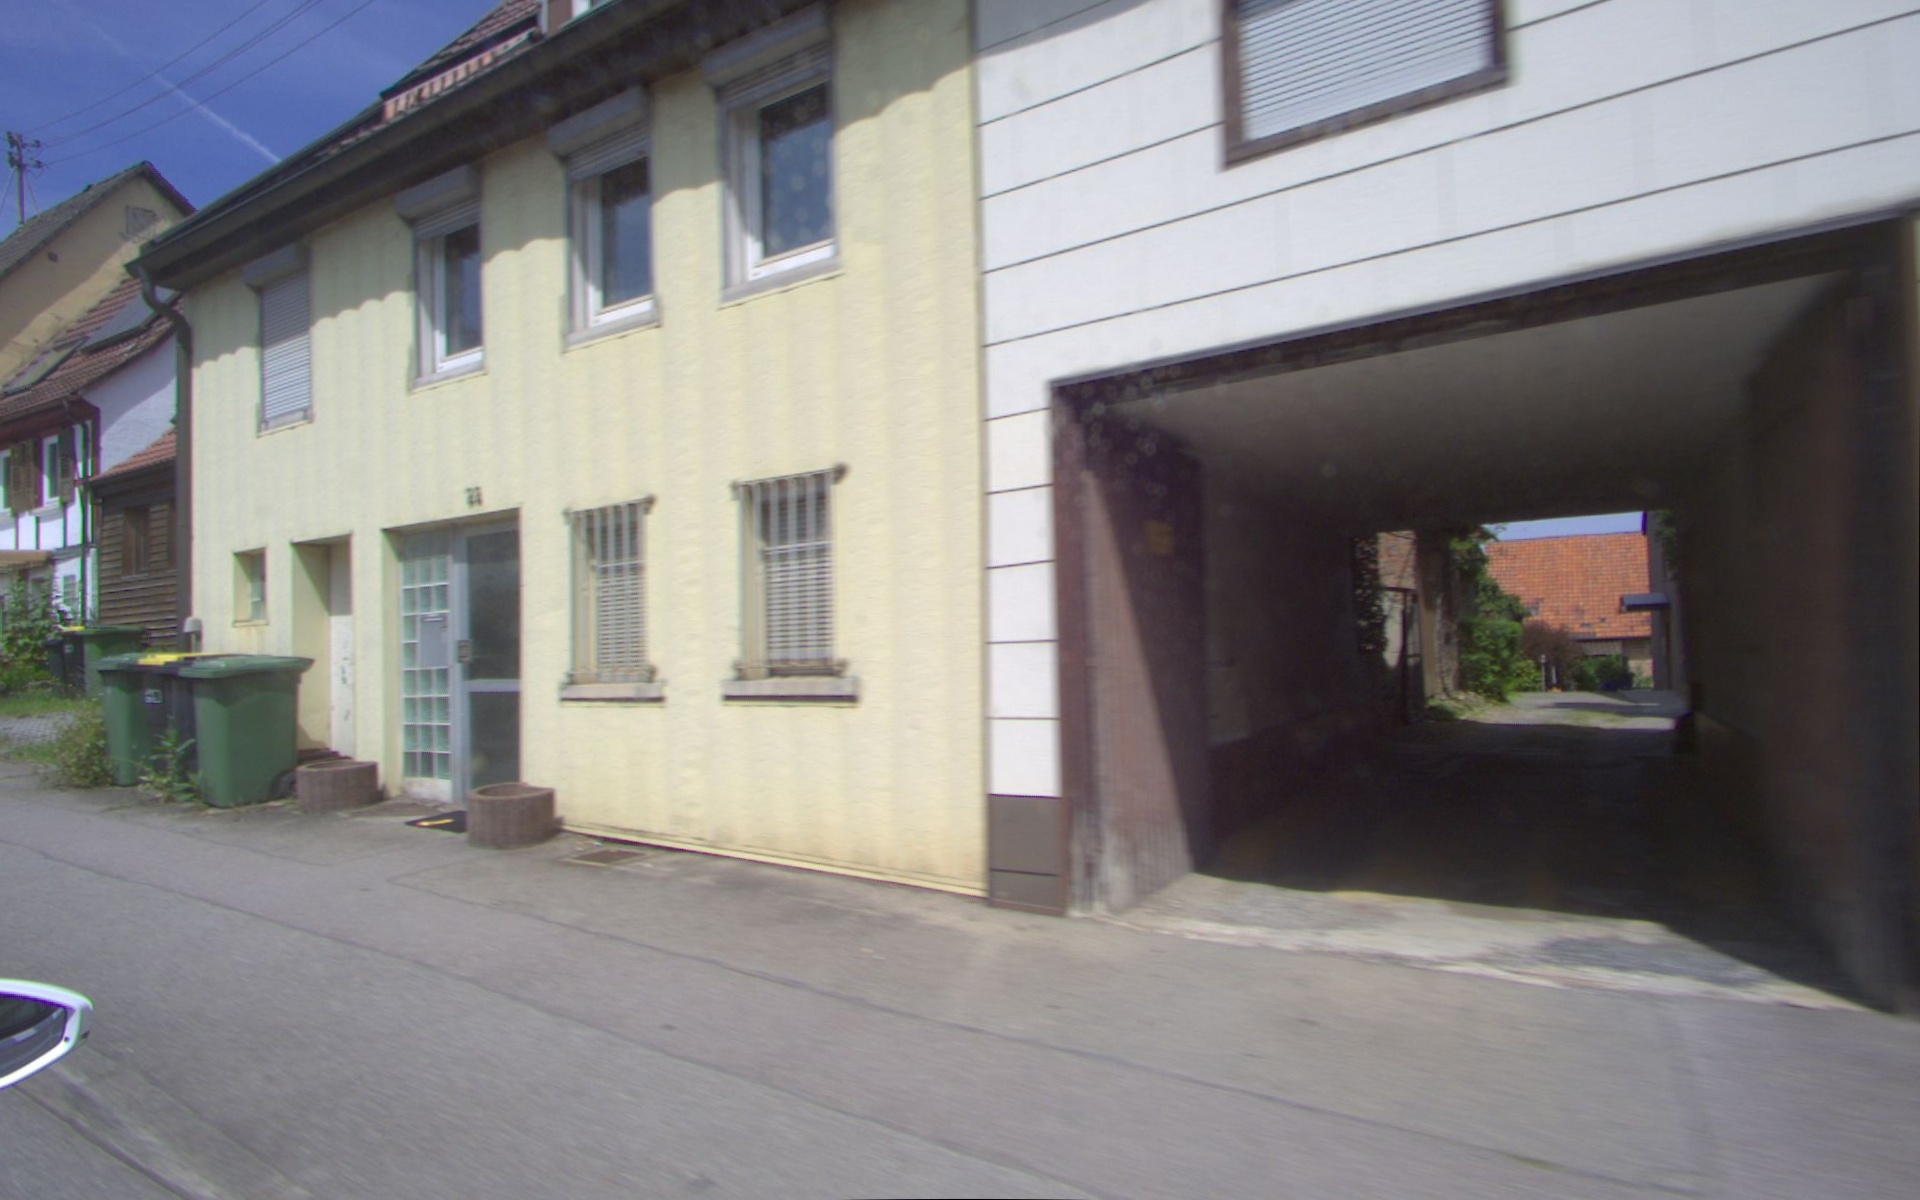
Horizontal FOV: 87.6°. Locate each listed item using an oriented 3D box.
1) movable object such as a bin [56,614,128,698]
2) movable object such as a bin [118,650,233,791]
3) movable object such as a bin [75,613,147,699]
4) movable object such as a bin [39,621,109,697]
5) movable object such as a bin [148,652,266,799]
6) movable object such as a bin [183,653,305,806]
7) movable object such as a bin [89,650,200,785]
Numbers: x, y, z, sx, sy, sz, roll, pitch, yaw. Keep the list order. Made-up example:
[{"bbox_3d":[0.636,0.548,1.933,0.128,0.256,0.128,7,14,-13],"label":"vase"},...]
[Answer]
[{"bbox_3d":[-12.839,0.818,14.822,0.540,1.174,0.534,-1,5,26],"label":"movable object such as a bin"},{"bbox_3d":[-6.357,0.954,8.120,0.543,1.047,0.545,0,2,31],"label":"movable object such as a bin"},{"bbox_3d":[-12.343,0.801,14.566,0.502,1.174,0.534,-1,5,26],"label":"movable object such as a bin"},{"bbox_3d":[-13.367,0.879,15.112,0.540,1.072,0.534,-1,5,26],"label":"movable object such as a bin"},{"bbox_3d":[-5.861,0.951,7.802,0.543,1.047,0.545,0,2,31],"label":"movable object such as a bin"},{"bbox_3d":[-5.366,0.946,7.516,0.543,1.047,0.545,0,2,31],"label":"movable object such as a bin"},{"bbox_3d":[-6.861,0.962,8.434,0.543,1.047,0.545,0,2,31],"label":"movable object such as a bin"}]
